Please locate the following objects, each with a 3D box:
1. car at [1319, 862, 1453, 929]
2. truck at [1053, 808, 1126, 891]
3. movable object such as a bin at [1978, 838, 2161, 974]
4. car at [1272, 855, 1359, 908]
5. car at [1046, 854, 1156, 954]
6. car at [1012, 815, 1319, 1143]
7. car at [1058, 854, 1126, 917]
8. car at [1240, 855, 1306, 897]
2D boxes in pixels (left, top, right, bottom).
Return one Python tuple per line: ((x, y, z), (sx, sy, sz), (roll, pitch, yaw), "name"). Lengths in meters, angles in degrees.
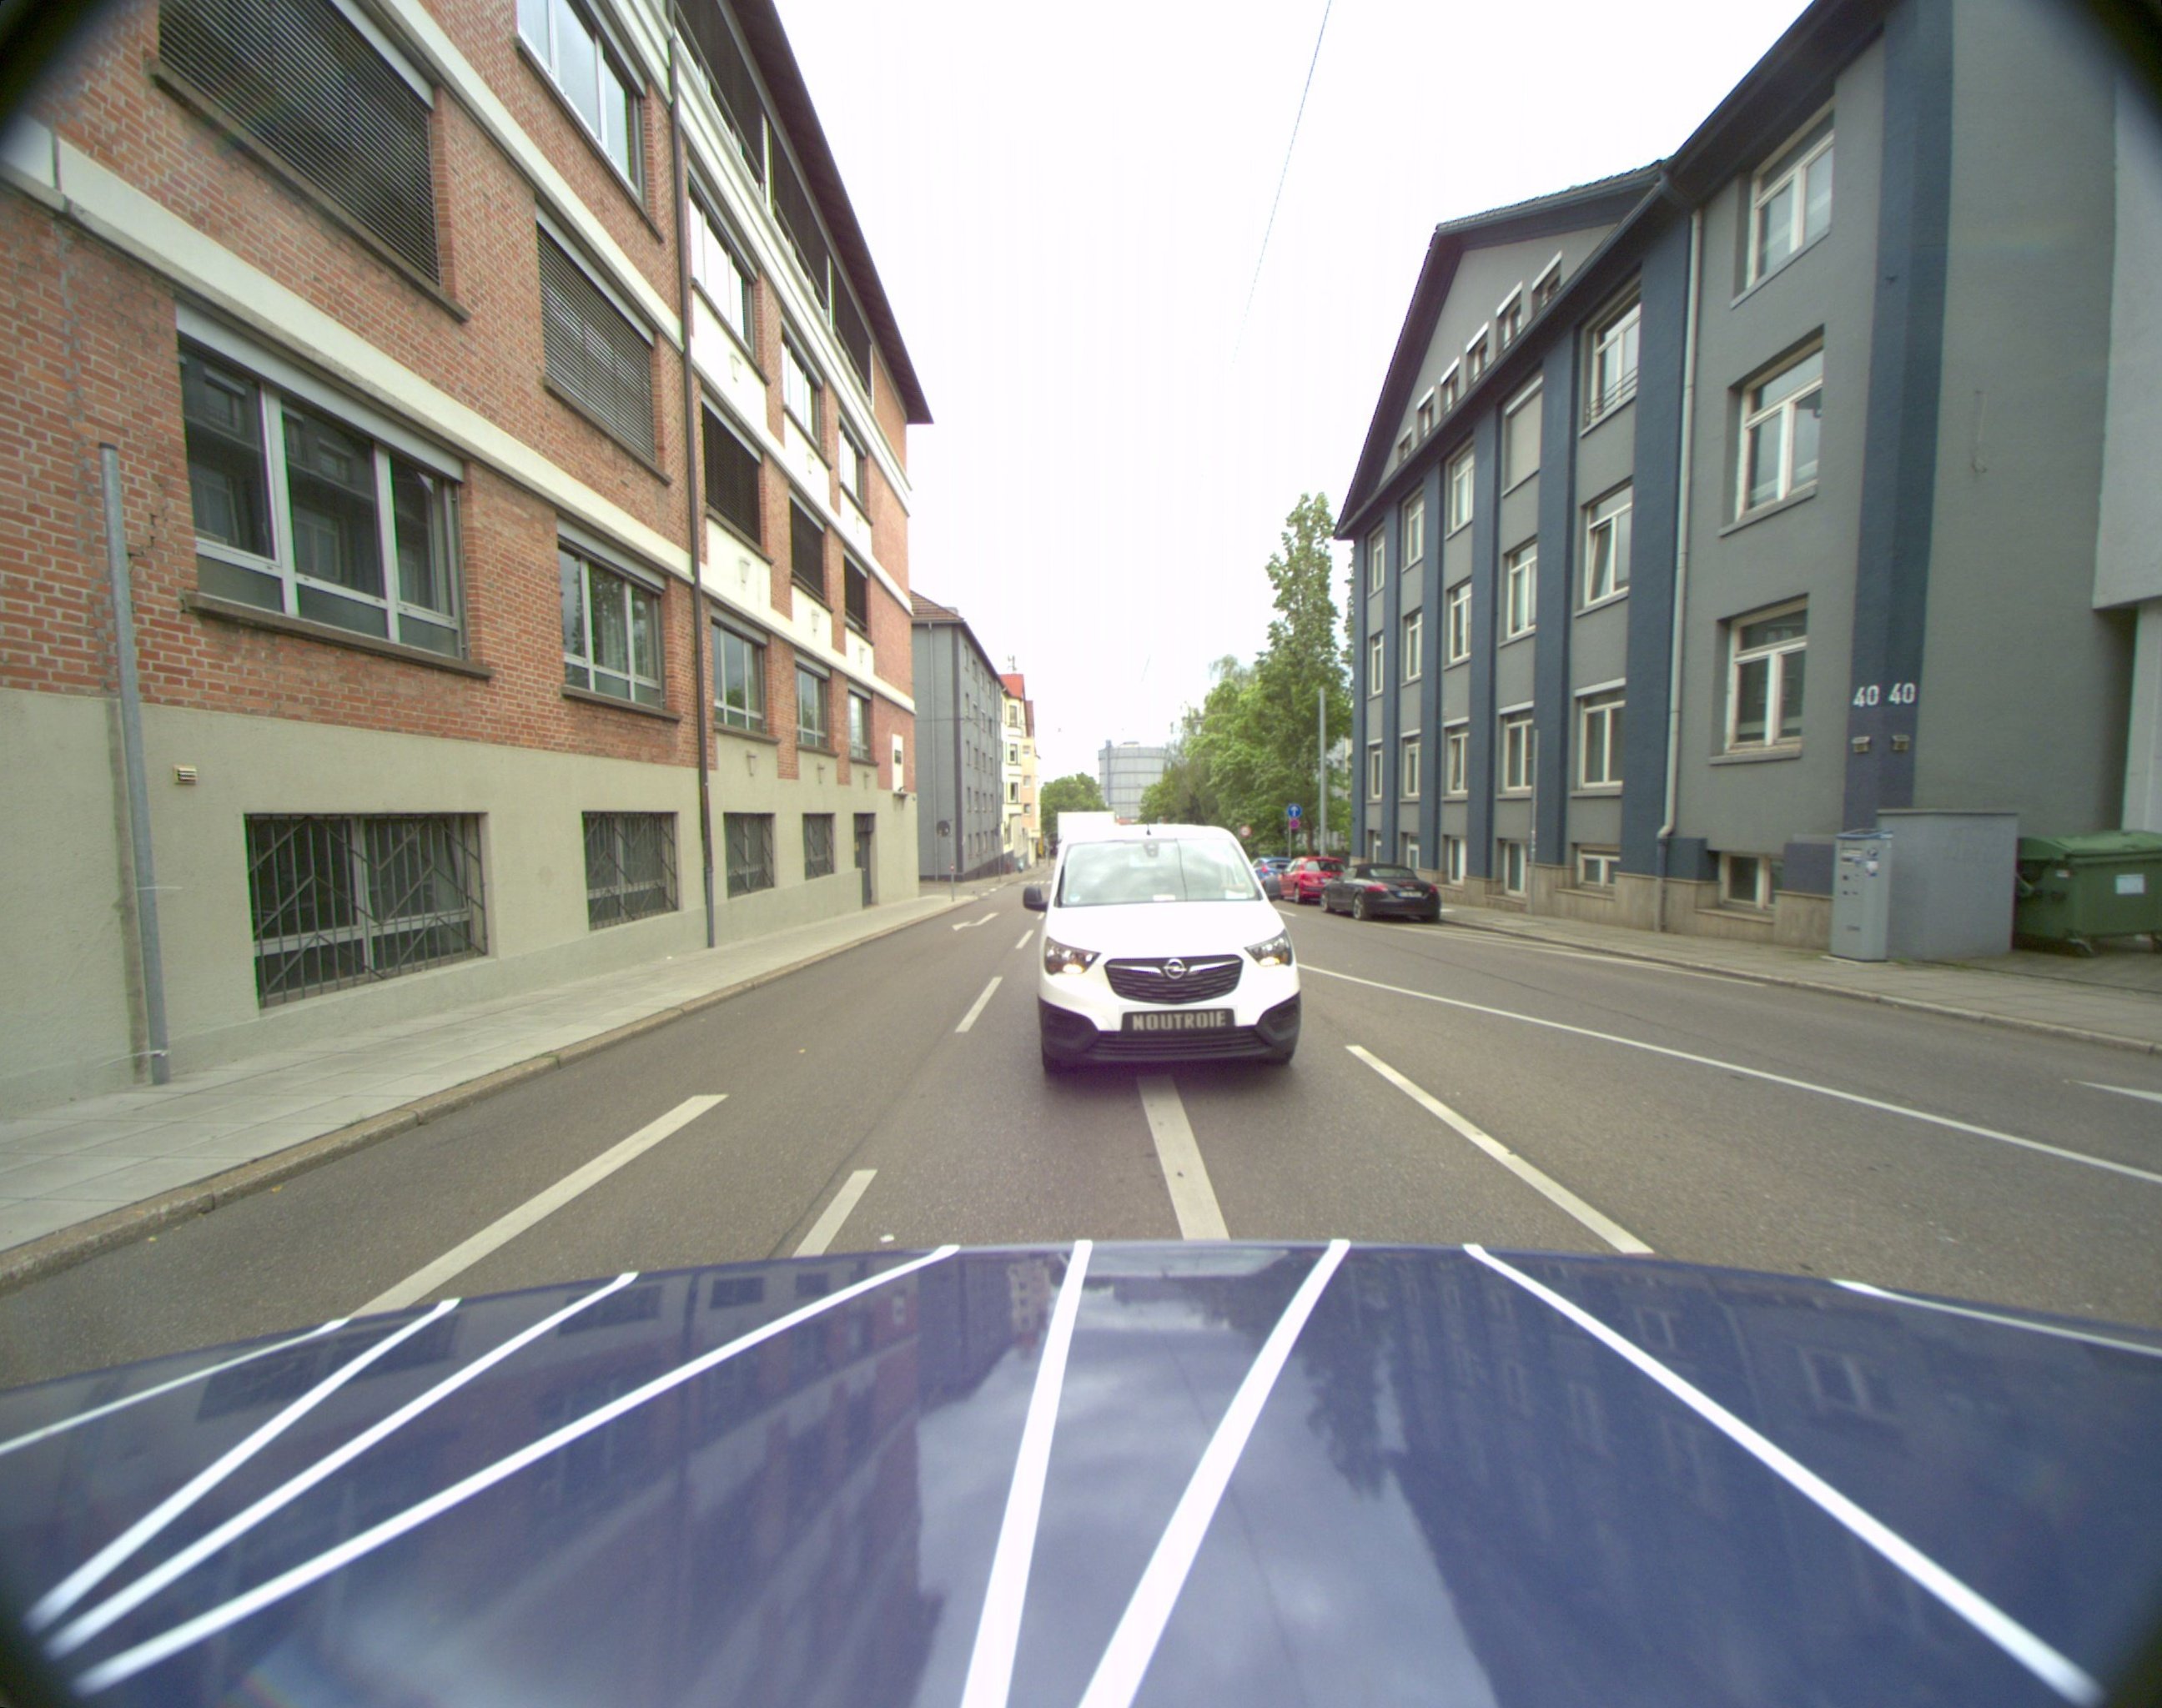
((7.245, 0.923, 18.472), (1.801, 1.384, 3.729), (0, 1, 1), "car")
((0.411, -0.248, 36.664), (2.969, 3.409, 8.879), (-2, 1, 1), "truck")
((12.054, 0.585, 9.159), (1.229, 1.498, 1.040), (-2, 1, 1), "movable object such as a bin")
((7.399, 0.821, 24.348), (1.644, 1.441, 3.729), (-2, 1, 1), "car")
((0.358, 0.814, 14.399), (1.739, 1.519, 3.999), (-2, 1, 1), "car")
((0.525, 0.718, 6.463), (1.739, 1.875, 3.999), (-2, 1, 1), "car")
((0.320, 0.825, 21.891), (1.739, 1.519, 3.999), (-2, 1, 1), "car")
((7.489, 0.825, 29.903), (1.644, 1.441, 3.729), (-2, 1, 1), "car")
